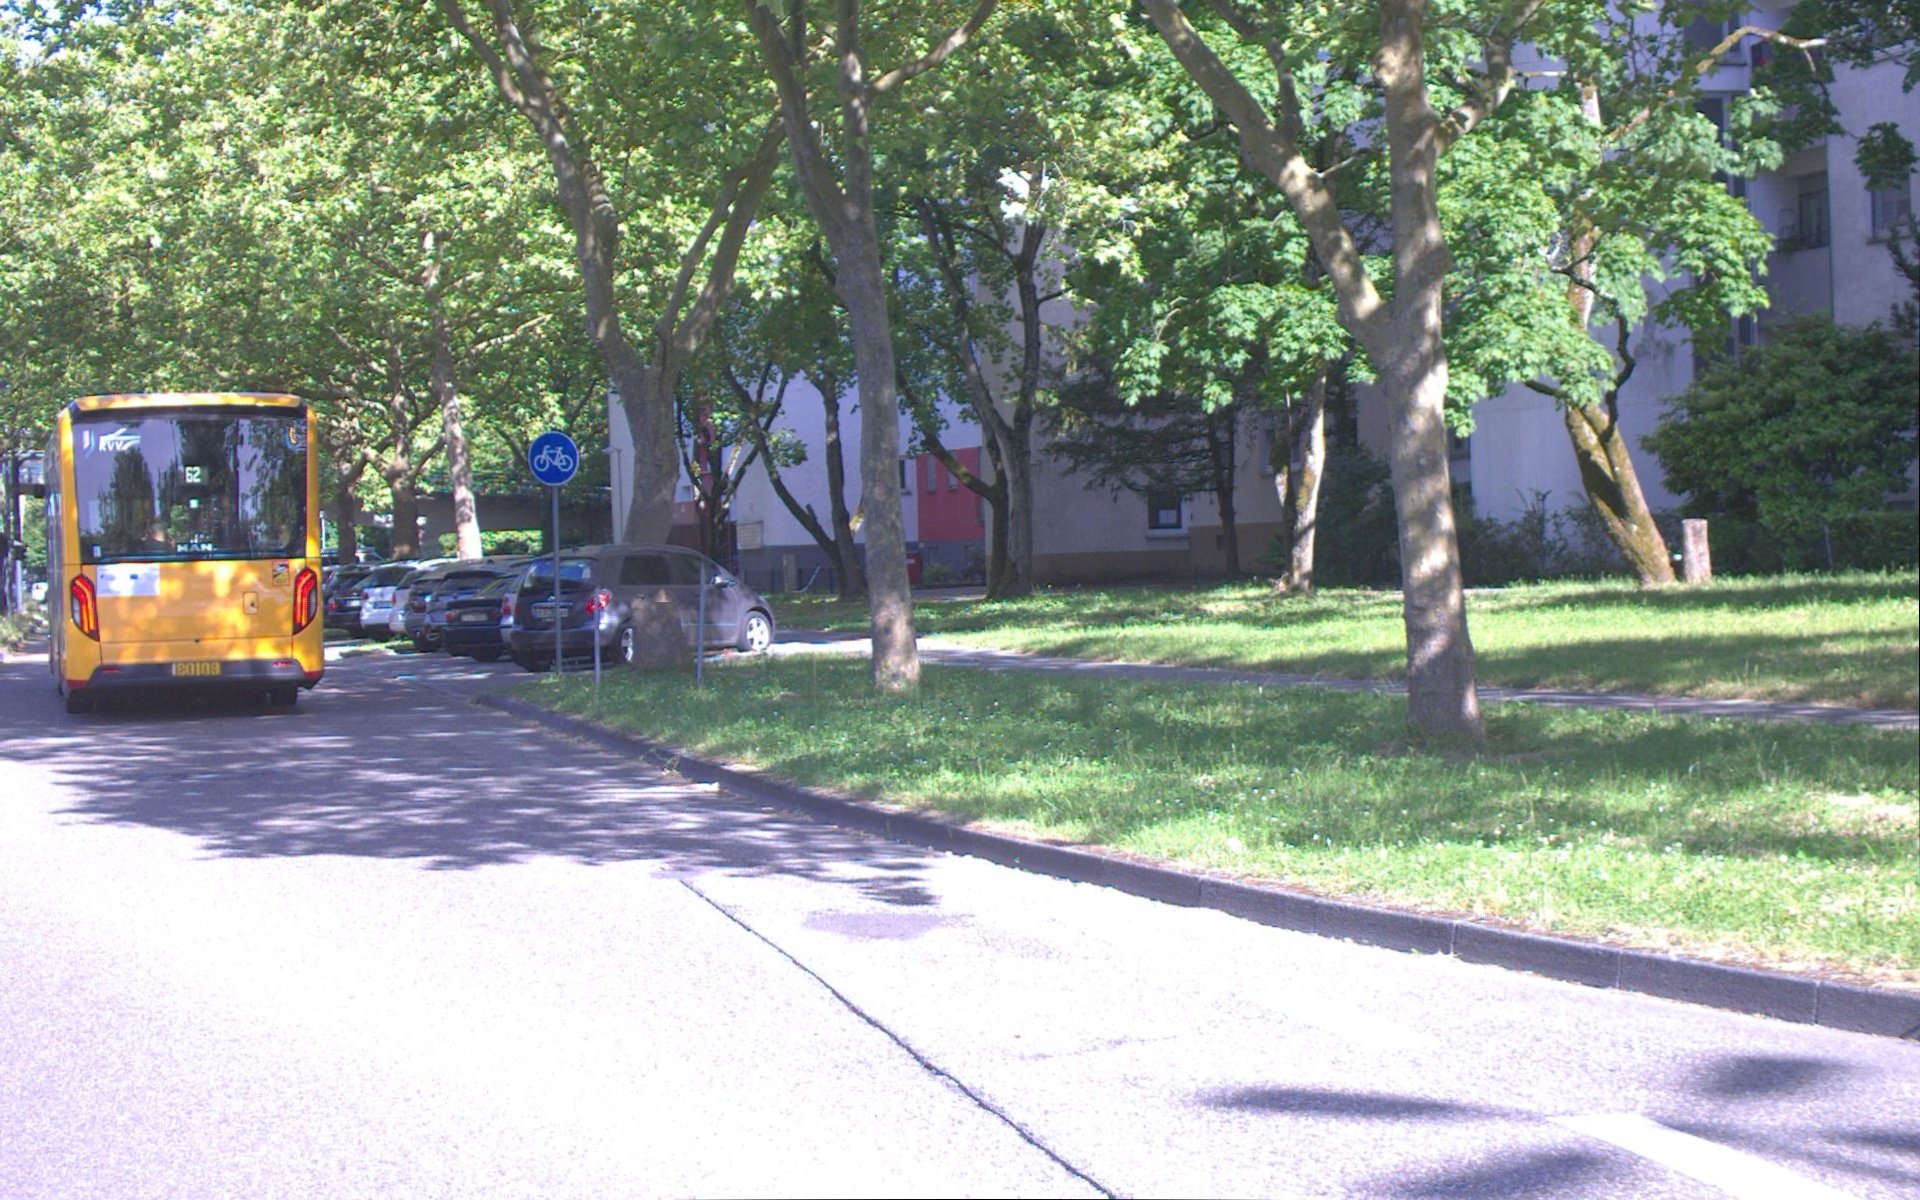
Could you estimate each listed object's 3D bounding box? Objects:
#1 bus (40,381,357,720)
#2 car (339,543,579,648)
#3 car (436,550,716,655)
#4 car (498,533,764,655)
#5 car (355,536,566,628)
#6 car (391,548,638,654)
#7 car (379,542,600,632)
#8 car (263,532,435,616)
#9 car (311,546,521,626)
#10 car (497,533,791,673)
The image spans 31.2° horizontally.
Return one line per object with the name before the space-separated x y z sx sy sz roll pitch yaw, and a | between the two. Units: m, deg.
bus | -9.040 -0.537 39.671 2.899 3.255 12.221 -2 1 -15
car | -8.435 -0.097 58.201 1.797 1.505 4.171 -2 2 29
car | -5.688 0.020 51.315 1.798 1.313 4.139 -2 2 36
car | -4.595 -0.097 48.422 1.797 1.487 3.577 -2 2 34
car | -9.845 -0.367 68.038 1.798 1.570 3.992 -2 2 36
car | -7.075 -0.008 54.928 1.797 1.440 3.881 -2 2 32
car | -8.775 -0.267 64.404 1.798 1.439 3.993 -2 2 35
car | -17.282 -0.755 97.452 2.015 2.045 4.581 -3 2 36
car | -11.417 -0.317 72.420 1.797 1.418 4.583 -2 2 31
car | -4.114 0.018 45.206 1.798 1.587 3.719 -2 2 35
